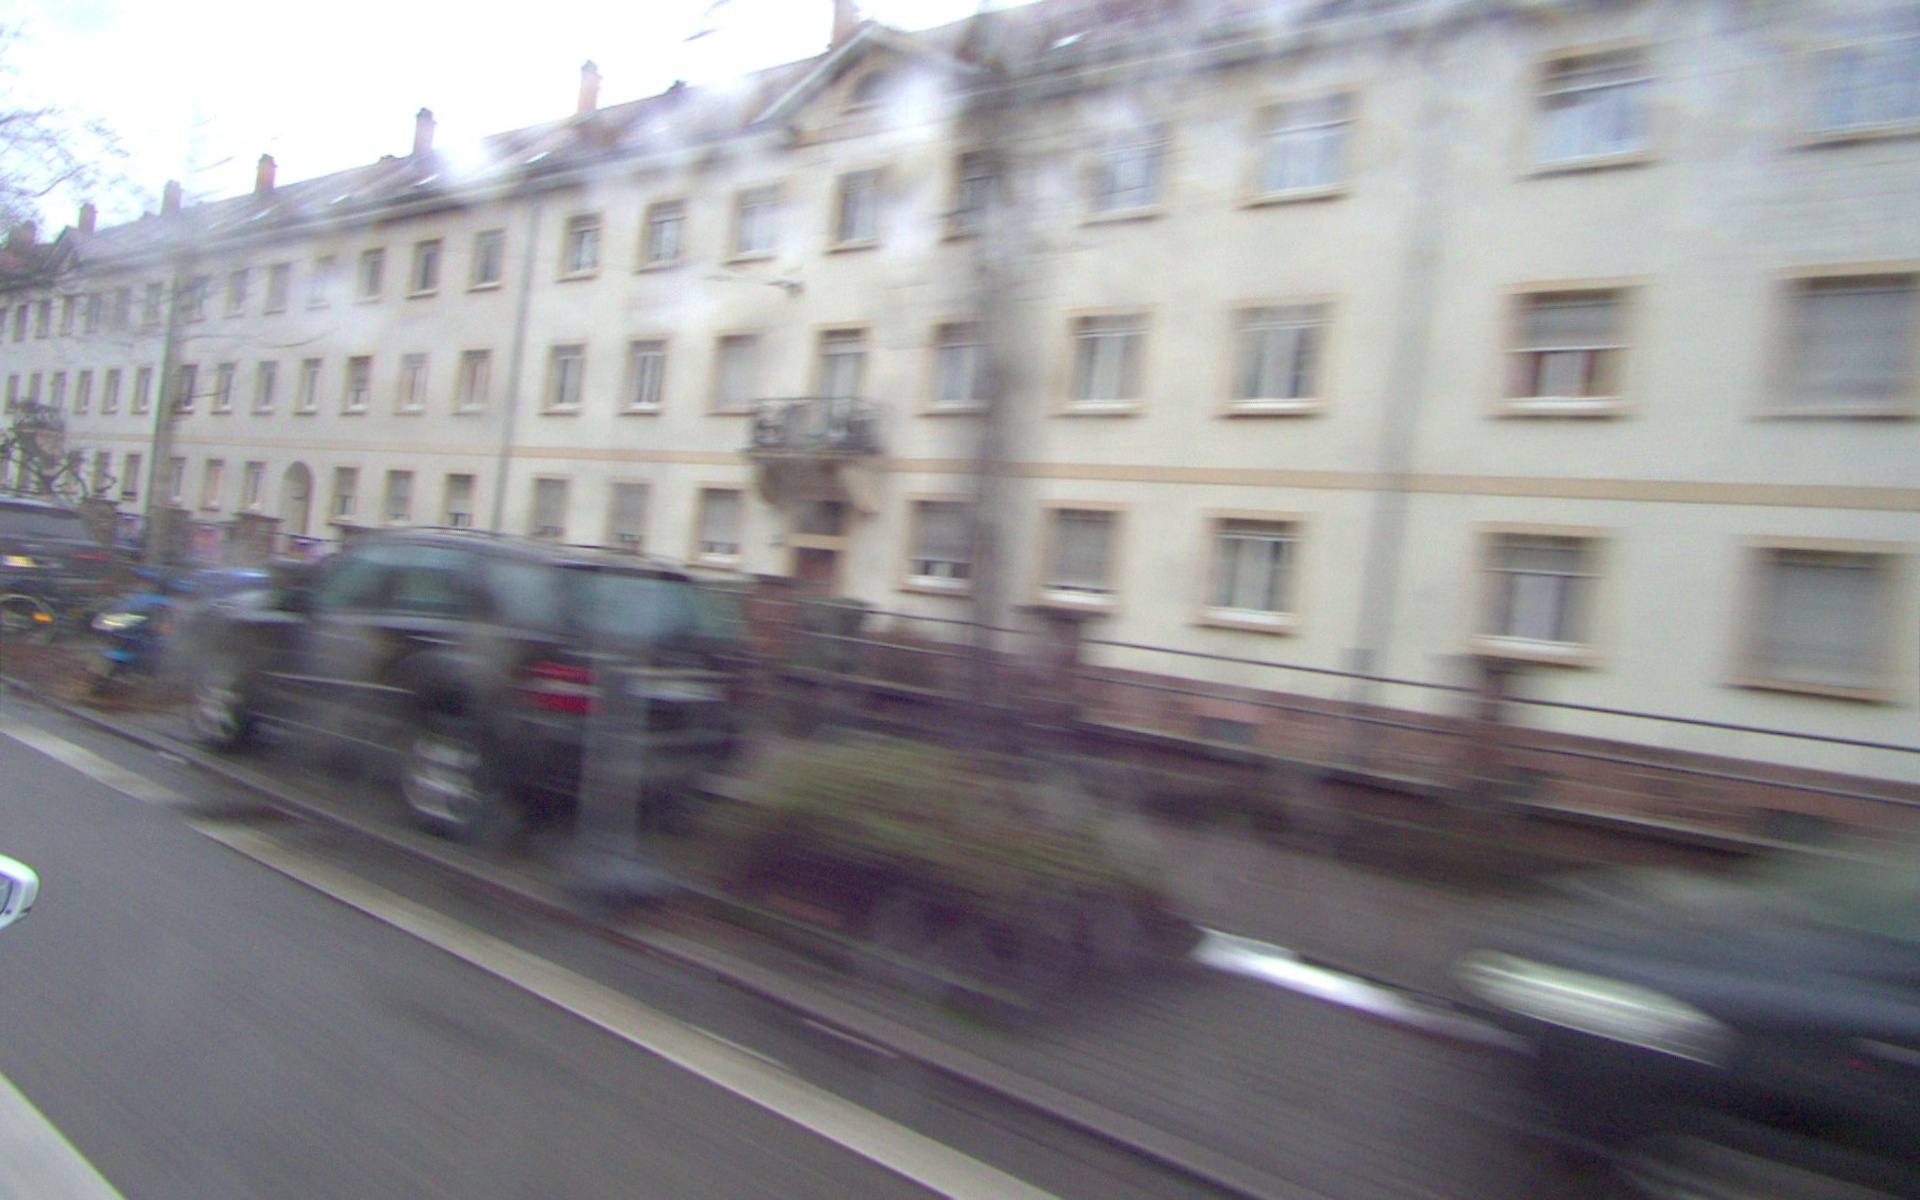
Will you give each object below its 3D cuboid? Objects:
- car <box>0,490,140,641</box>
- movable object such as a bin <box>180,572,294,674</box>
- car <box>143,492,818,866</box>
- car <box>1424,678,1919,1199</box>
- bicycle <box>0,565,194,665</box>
[{"bbox_3d":[-12.651,-0.607,12.915,4.487,1.628,1.909,6,-2,33],"label":"car"},{"bbox_3d":[-7.471,0.229,10.409,0.559,0.967,0.751,7,4,26],"label":"movable object such as a bin"},{"bbox_3d":[-3.597,0.369,7.247,4.821,1.747,1.910,6,-2,31],"label":"car"},{"bbox_3d":[3.600,1.271,2.782,3.921,1.527,1.789,6,-2,31],"label":"car"},{"bbox_3d":[-9.724,0.163,11.018,0.458,0.927,2.012,7,-1,40],"label":"bicycle"}]
